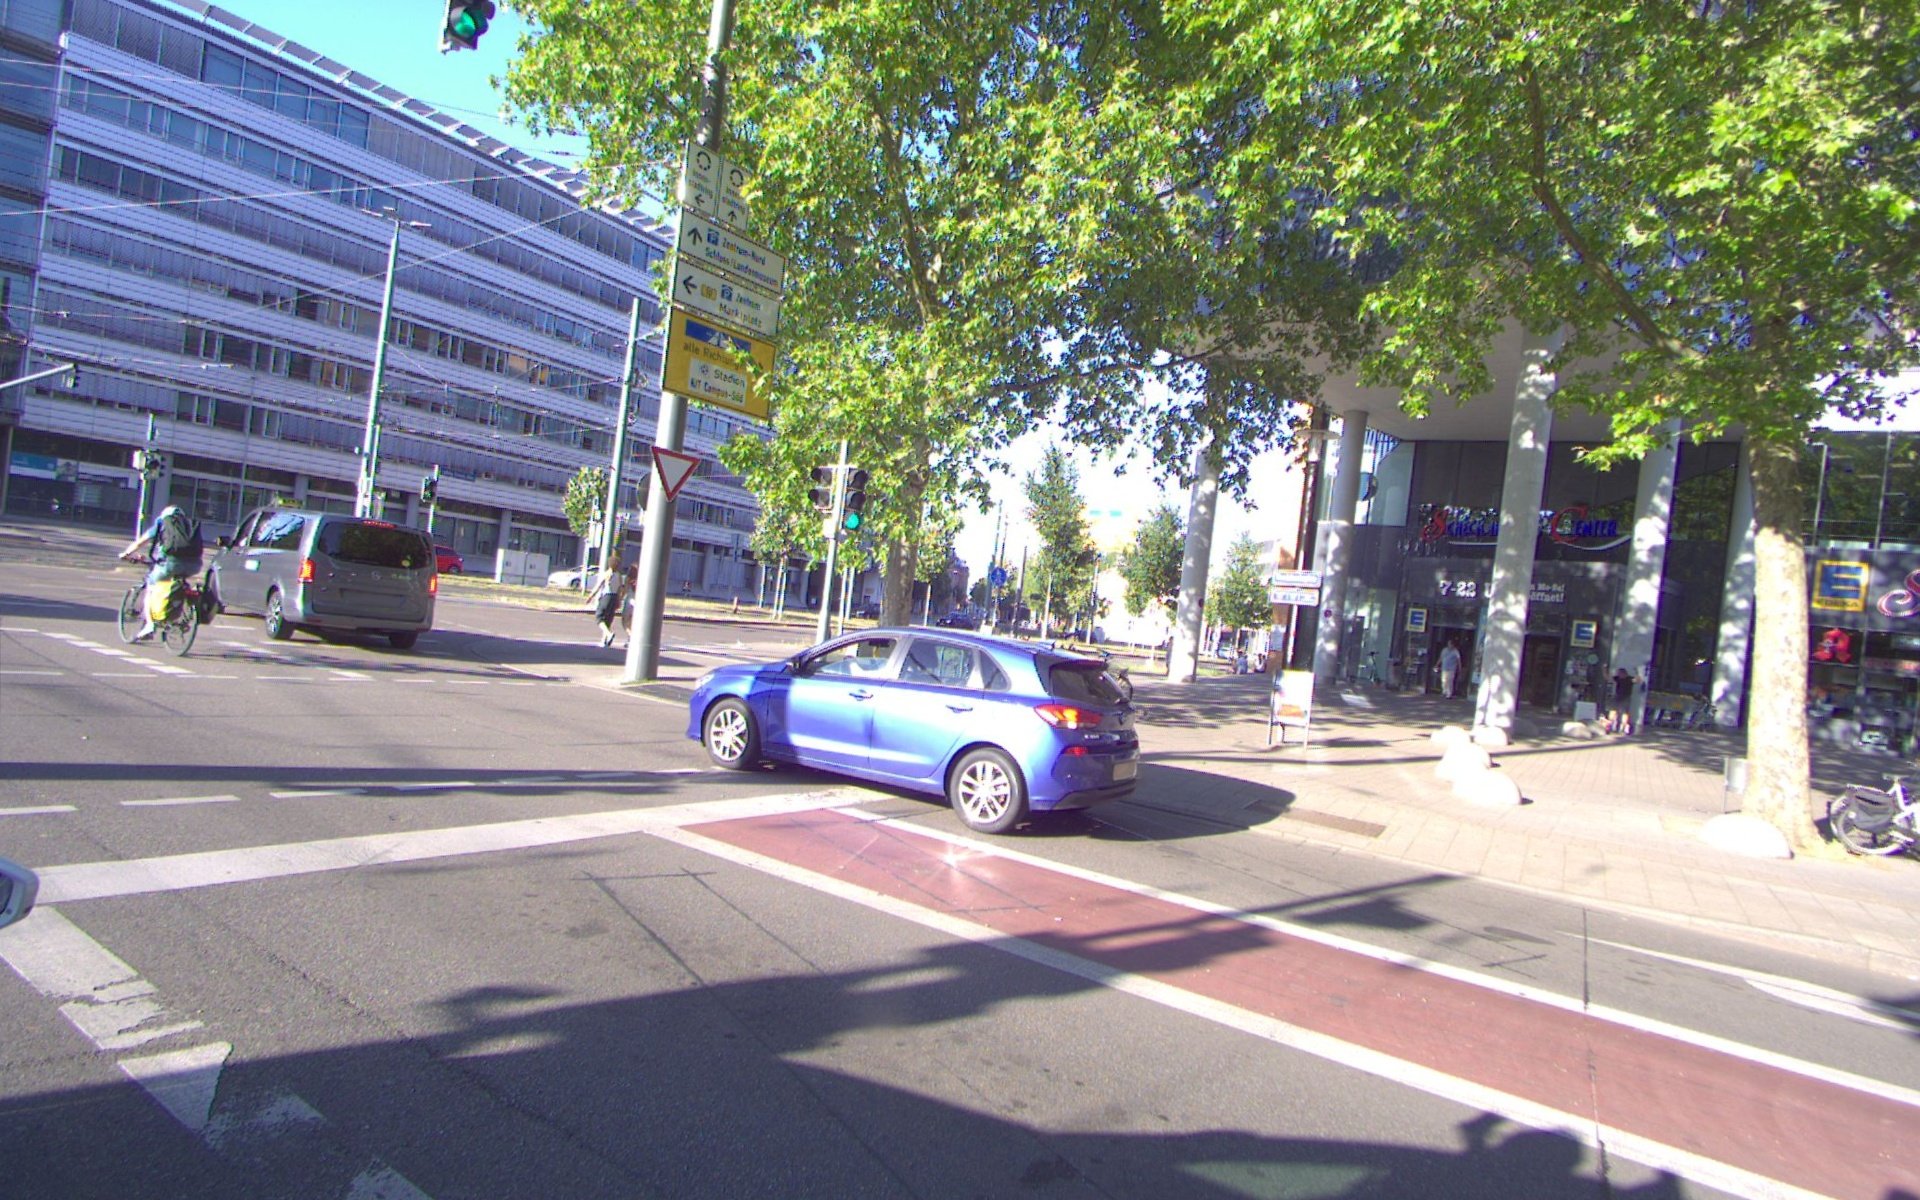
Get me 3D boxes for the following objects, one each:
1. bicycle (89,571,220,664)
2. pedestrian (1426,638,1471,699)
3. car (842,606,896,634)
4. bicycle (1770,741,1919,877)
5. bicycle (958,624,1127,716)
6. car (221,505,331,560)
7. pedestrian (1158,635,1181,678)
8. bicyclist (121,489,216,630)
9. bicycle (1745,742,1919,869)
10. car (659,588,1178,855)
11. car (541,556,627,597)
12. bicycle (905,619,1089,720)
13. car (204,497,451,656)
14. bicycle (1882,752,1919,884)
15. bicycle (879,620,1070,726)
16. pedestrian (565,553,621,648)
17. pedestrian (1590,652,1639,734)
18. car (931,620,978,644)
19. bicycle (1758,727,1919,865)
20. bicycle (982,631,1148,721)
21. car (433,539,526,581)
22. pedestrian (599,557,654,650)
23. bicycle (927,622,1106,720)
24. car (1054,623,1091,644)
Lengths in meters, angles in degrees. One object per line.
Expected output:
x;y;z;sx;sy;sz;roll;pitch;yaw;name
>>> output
-9.036;0.187;11.260;1.831;0.798;0.491;7;-1;32;bicycle
16.228;2.272;33.408;0.800;1.913;0.871;5;1;-16;pedestrian
-7.014;1.573;78.197;1.852;1.614;4.121;6;-2;35;car
10.881;2.370;10.430;3.759;1.234;0.756;5;-2;38;bicycle
1.436;1.215;17.954;2.896;1.254;0.704;6;2;31;bicycle
-34.512;-3.365;50.835;1.967;2.037;3.995;6;-2;32;car
8.327;2.253;39.959;0.569;1.612;0.595;7;0;32;pedestrian
-8.773;-0.446;11.154;0.605;1.456;0.487;8;-1;32;bicyclist
11.629;2.558;11.742;3.758;1.234;0.792;5;-2;36;bicycle
-0.437;0.919;8.852;4.141;1.476;1.751;7;-1;30;car
-20.602;-1.268;55.263;1.852;1.614;3.991;6;-2;35;car
0.562;1.101;16.328;2.896;1.243;0.686;6;-1;31;bicycle
-10.002;-0.436;15.725;4.817;1.919;1.997;7;-1;44;car
10.381;2.233;9.359;2.514;1.234;0.756;5;-2;37;bicycle
0.186;1.113;15.711;2.896;1.252;0.705;6;-1;31;bicycle
-7.303;0.006;20.014;0.674;1.781;0.734;6;1;-38;pedestrian
17.443;2.490;26.810;0.847;2.037;1.021;6;-1;38;pedestrian
-0.414;2.775;86.484;1.852;1.614;4.121;6;-2;35;car
11.278;2.420;11.053;3.757;1.235;0.727;10;1;38;bicycle
1.916;1.386;18.638;2.896;1.250;0.698;6;-4;31;bicycle
-25.388;-2.109;53.245;1.769;1.569;3.990;6;-2;36;car
-6.782;0.068;20.444;0.680;1.781;0.734;6;1;-38;pedestrian
0.911;1.175;16.961;2.896;1.252;0.705;6;-1;32;bicycle
11.490;3.395;102.490;1.852;1.614;4.121;6;-2;35;car
